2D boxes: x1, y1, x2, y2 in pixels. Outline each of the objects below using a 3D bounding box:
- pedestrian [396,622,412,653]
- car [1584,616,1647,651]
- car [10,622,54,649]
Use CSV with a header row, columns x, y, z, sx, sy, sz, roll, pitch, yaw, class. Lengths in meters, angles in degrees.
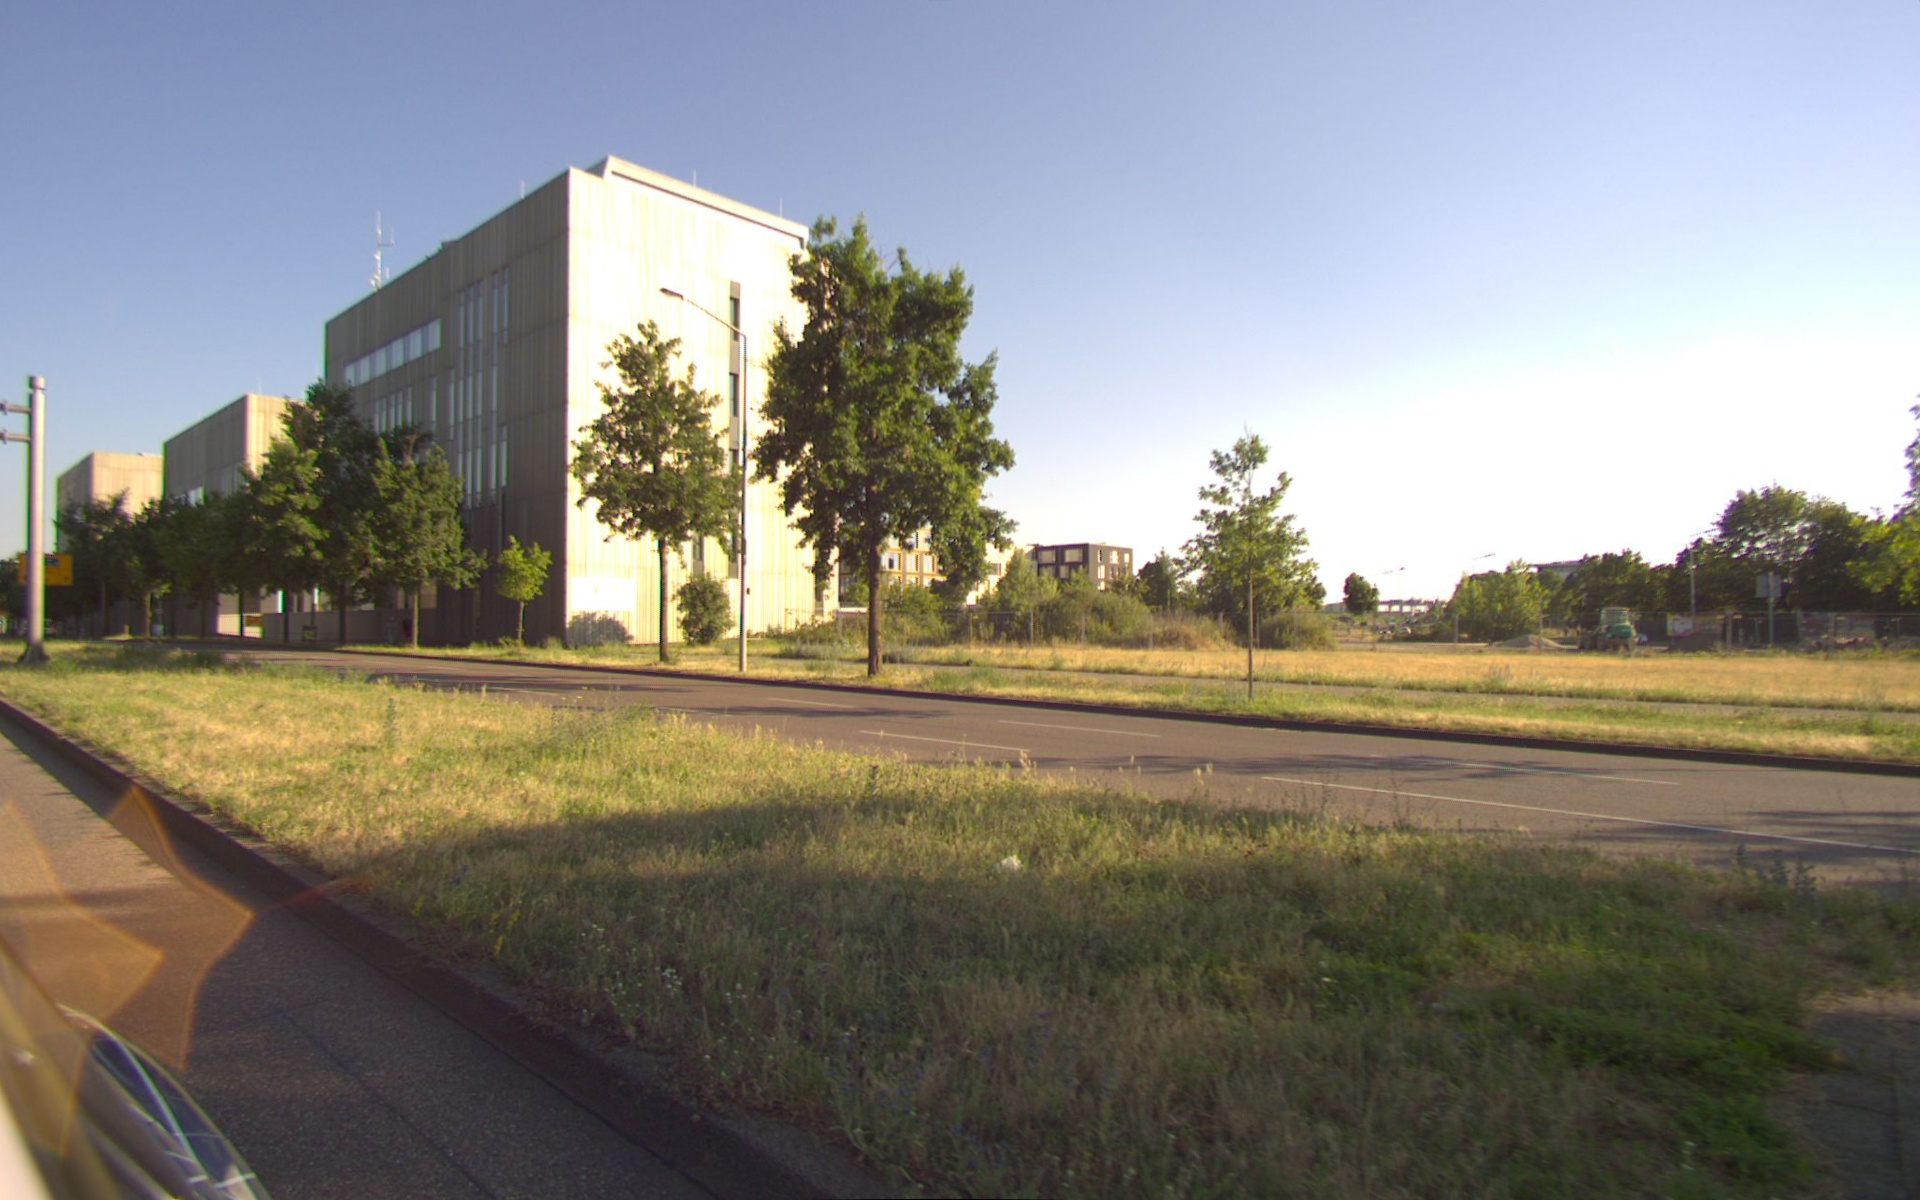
x,y,z,sx,sy,sz,roll,pitch,yaw,class
-32.783,2.204,59.626,0.716,1.855,0.625,-2,-2,43,pedestrian
39.852,2.036,61.658,1.980,2.029,3.864,0,-2,13,car
-57.432,2.173,62.600,3.409,1.587,1.547,-1,-2,40,car
